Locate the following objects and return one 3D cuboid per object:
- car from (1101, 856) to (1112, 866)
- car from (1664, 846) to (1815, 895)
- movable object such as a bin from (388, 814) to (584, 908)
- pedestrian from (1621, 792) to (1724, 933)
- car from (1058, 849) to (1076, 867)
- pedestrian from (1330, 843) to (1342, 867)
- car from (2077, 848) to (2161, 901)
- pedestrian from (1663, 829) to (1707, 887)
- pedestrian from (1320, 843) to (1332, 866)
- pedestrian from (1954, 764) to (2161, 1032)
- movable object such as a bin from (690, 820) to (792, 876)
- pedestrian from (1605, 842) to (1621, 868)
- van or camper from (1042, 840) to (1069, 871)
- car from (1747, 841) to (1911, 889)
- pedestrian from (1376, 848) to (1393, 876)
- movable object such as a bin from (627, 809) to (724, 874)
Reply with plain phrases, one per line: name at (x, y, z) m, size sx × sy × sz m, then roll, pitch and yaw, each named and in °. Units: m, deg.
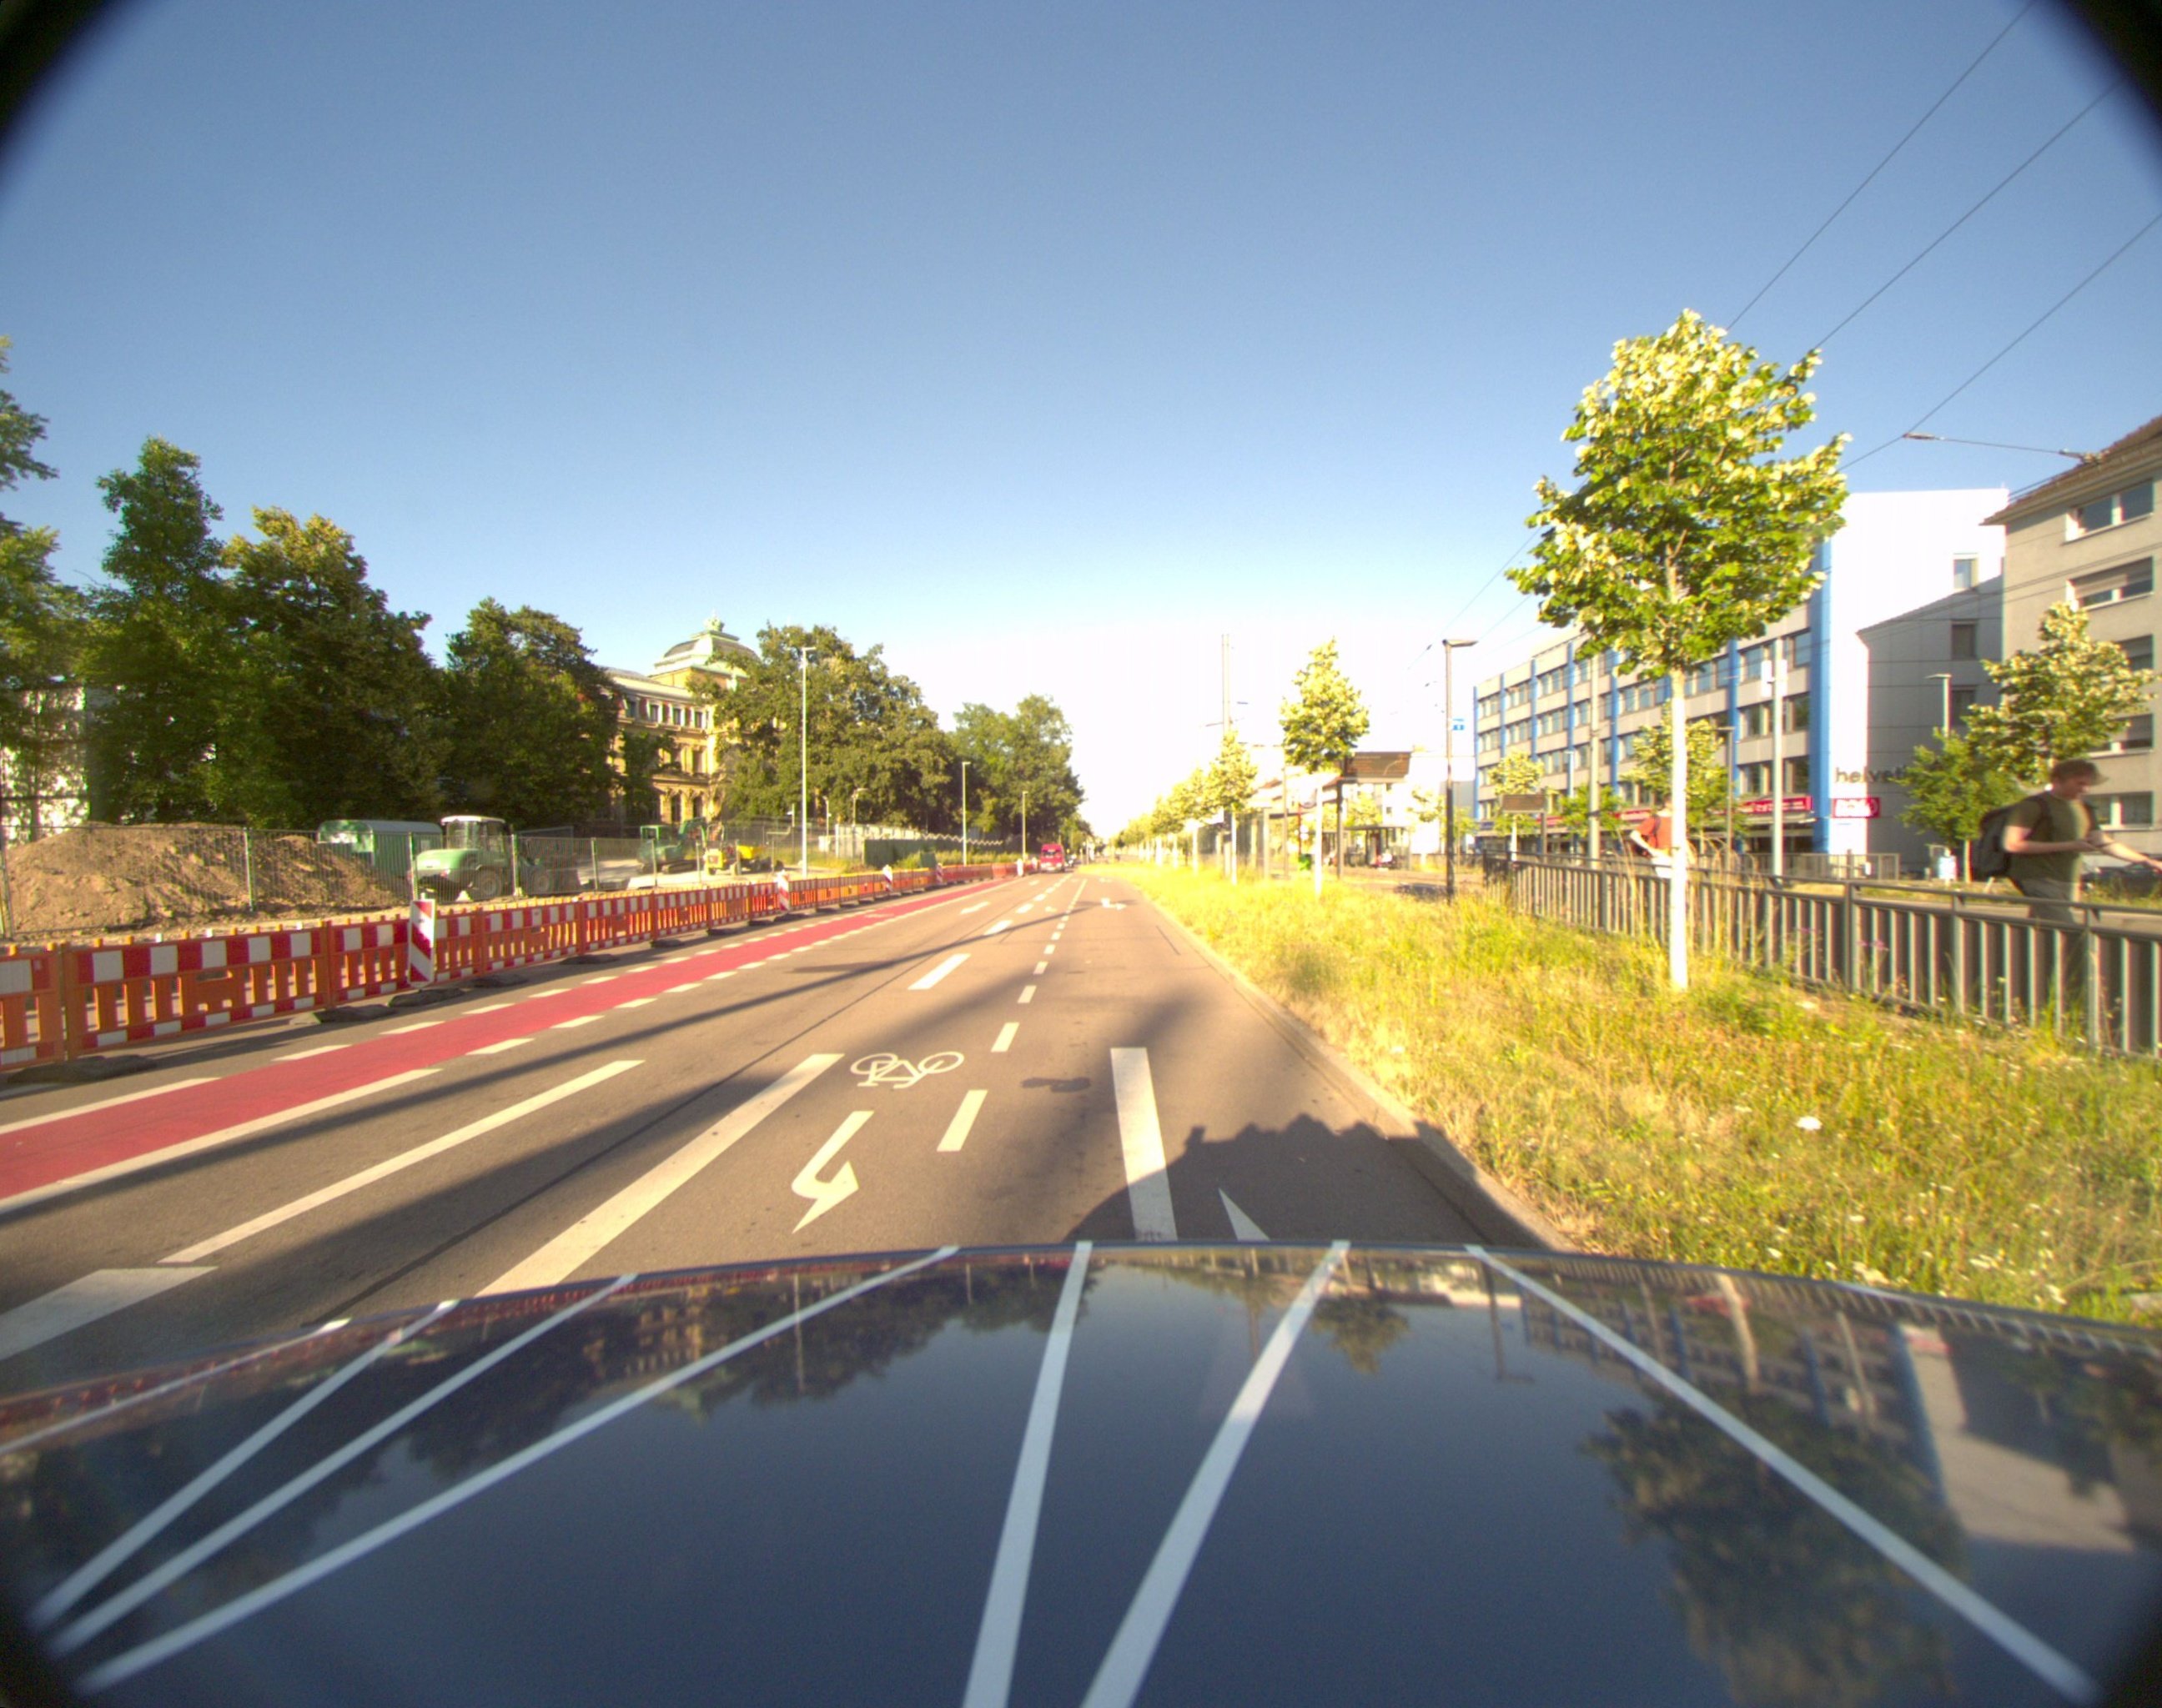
car at (4.953, 1.378, 150.397) m, size 1.998 × 2.002 × 3.999 m, roll -2°, pitch 1°, yaw 1°
car at (22.822, 0.515, 26.550) m, size 1.886 × 1.499 × 3.942 m, roll -2°, pitch 1°, yaw 1°
movable object such as a bin at (-19.042, 0.168, 24.730) m, size 1.998 × 2.668 × 5.015 m, roll -2°, pitch 1°, yaw 5°
pedestrian at (7.454, 0.103, 9.601) m, size 0.787 × 1.689 × 0.619 m, roll -2°, pitch 1°, yaw 4°
car at (-1.626, 0.461, 89.910) m, size 1.998 × 2.002 × 3.999 m, roll -2°, pitch 1°, yaw 1°
pedestrian at (18.615, 0.071, 55.553) m, size 0.659 × 1.682 × 0.772 m, roll -2°, pitch 1°, yaw 7°
car at (33.178, 0.621, 22.754) m, size 1.886 × 1.499 × 3.674 m, roll -2°, pitch 1°, yaw 1°
pedestrian at (18.017, 0.119, 22.674) m, size 0.787 × 1.663 × 0.619 m, roll -2°, pitch 1°, yaw 4°
pedestrian at (18.666, 0.043, 57.858) m, size 0.659 × 1.682 × 0.772 m, roll -2°, pitch 1°, yaw 4°
pedestrian at (7.206, 0.308, 5.606) m, size 0.787 × 1.853 × 0.619 m, roll -2°, pitch 1°, yaw 4°
movable object such as a bin at (-18.645, -0.354, 42.083) m, size 1.997 × 2.800 × 5.871 m, roll -2°, pitch 1°, yaw 11°
pedestrian at (36.722, 0.057, 52.471) m, size 0.645 × 1.736 × 0.599 m, roll -2°, pitch 1°, yaw 7°
van or camper at (-2.205, 0.072, 66.492) m, size 1.998 × 2.514 × 5.913 m, roll -2°, pitch 1°, yaw 1°
car at (26.059, 0.347, 26.683) m, size 1.886 × 1.499 × 3.942 m, roll -2°, pitch 1°, yaw 1°
pedestrian at (18.251, 0.469, 45.630) m, size 0.660 × 1.682 × 0.772 m, roll -2°, pitch 1°, yaw -1°
movable object such as a bin at (-22.424, -0.691, 42.318) m, size 1.998 × 3.310 × 5.376 m, roll -2°, pitch 1°, yaw 5°
